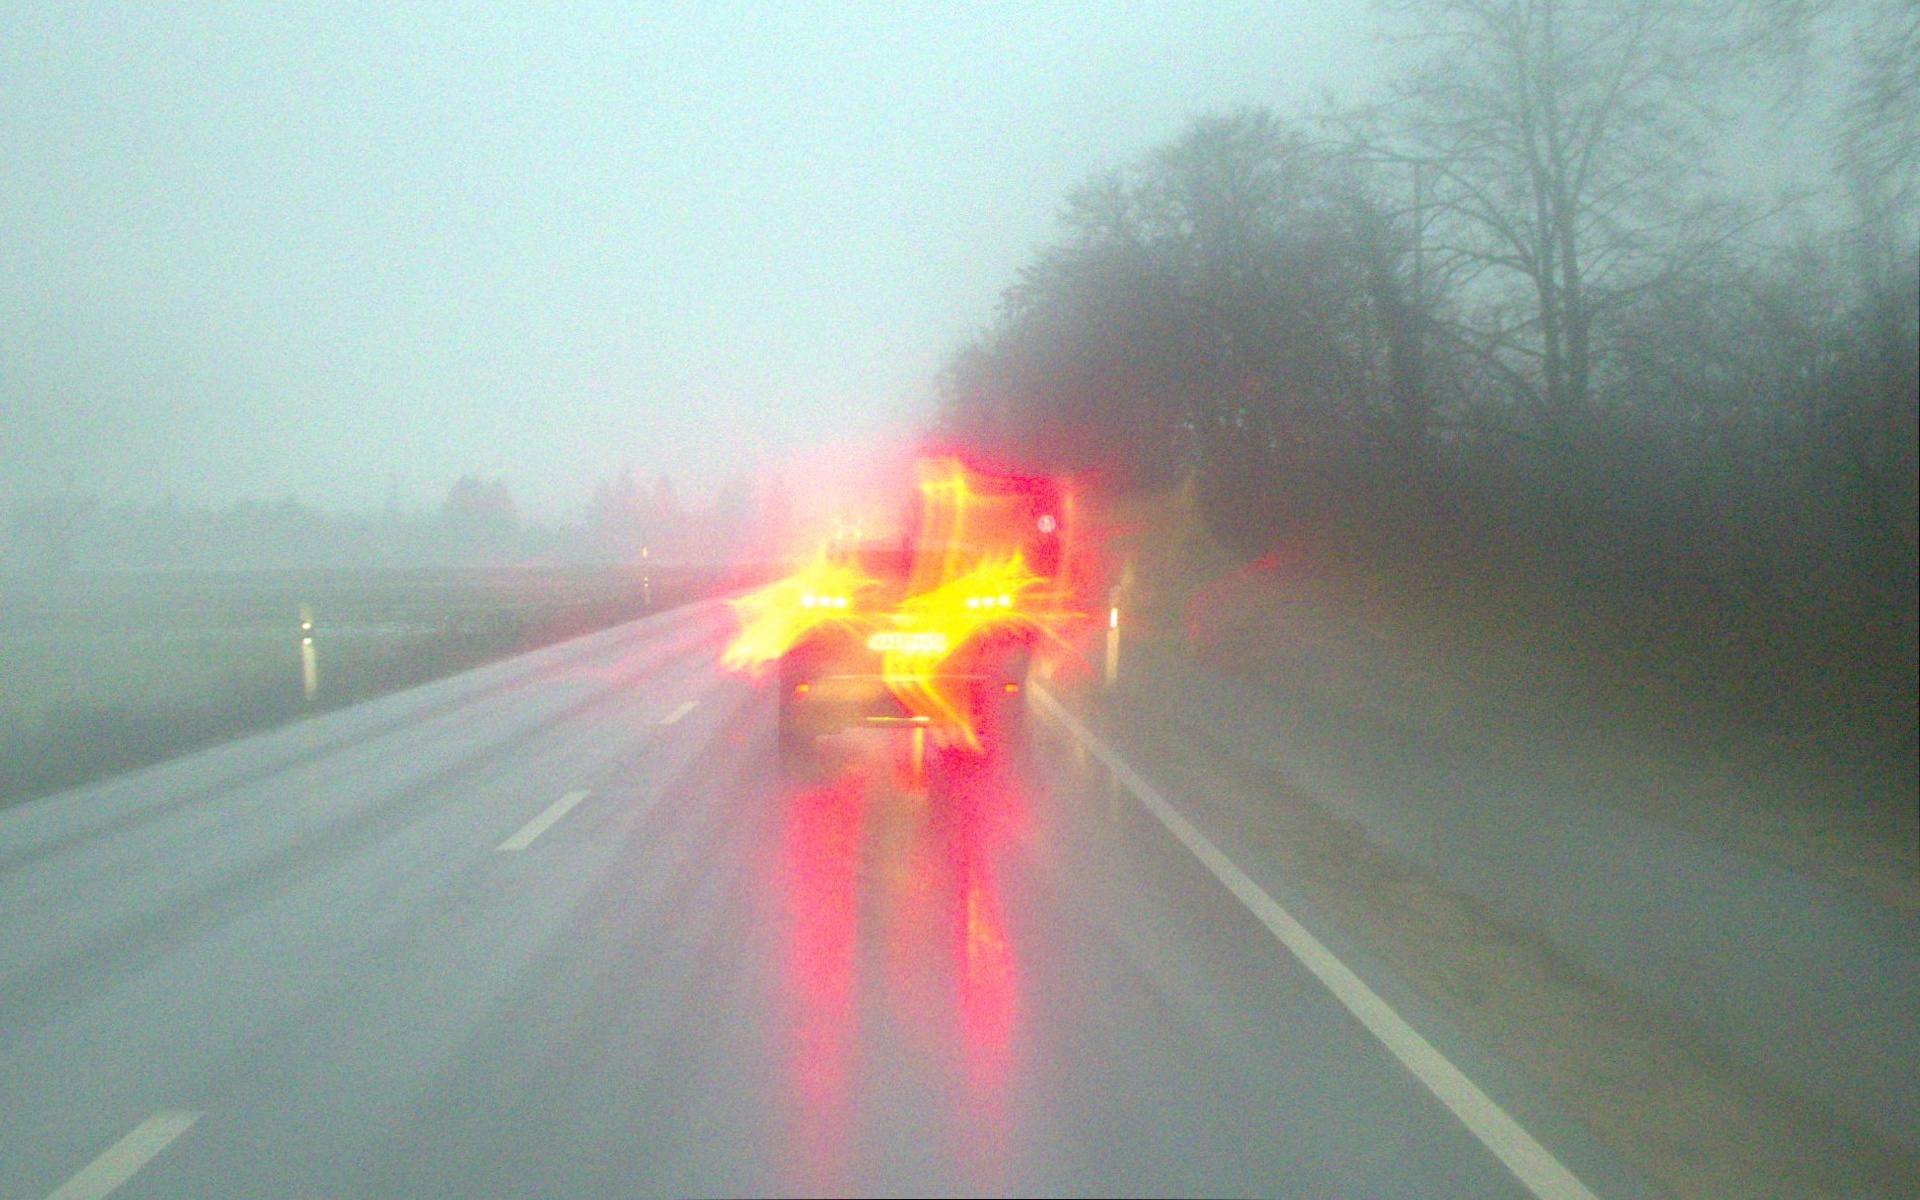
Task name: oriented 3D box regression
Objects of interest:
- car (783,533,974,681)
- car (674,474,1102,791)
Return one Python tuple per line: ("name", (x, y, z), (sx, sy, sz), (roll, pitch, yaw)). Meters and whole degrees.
("car", (-1.158, 0.066, 50.283), (2.592, 2.007, 5.804), (1, 1, -1))
("car", (-0.516, 0.185, 25.838), (2.820, 2.070, 5.804), (1, 1, -1))
